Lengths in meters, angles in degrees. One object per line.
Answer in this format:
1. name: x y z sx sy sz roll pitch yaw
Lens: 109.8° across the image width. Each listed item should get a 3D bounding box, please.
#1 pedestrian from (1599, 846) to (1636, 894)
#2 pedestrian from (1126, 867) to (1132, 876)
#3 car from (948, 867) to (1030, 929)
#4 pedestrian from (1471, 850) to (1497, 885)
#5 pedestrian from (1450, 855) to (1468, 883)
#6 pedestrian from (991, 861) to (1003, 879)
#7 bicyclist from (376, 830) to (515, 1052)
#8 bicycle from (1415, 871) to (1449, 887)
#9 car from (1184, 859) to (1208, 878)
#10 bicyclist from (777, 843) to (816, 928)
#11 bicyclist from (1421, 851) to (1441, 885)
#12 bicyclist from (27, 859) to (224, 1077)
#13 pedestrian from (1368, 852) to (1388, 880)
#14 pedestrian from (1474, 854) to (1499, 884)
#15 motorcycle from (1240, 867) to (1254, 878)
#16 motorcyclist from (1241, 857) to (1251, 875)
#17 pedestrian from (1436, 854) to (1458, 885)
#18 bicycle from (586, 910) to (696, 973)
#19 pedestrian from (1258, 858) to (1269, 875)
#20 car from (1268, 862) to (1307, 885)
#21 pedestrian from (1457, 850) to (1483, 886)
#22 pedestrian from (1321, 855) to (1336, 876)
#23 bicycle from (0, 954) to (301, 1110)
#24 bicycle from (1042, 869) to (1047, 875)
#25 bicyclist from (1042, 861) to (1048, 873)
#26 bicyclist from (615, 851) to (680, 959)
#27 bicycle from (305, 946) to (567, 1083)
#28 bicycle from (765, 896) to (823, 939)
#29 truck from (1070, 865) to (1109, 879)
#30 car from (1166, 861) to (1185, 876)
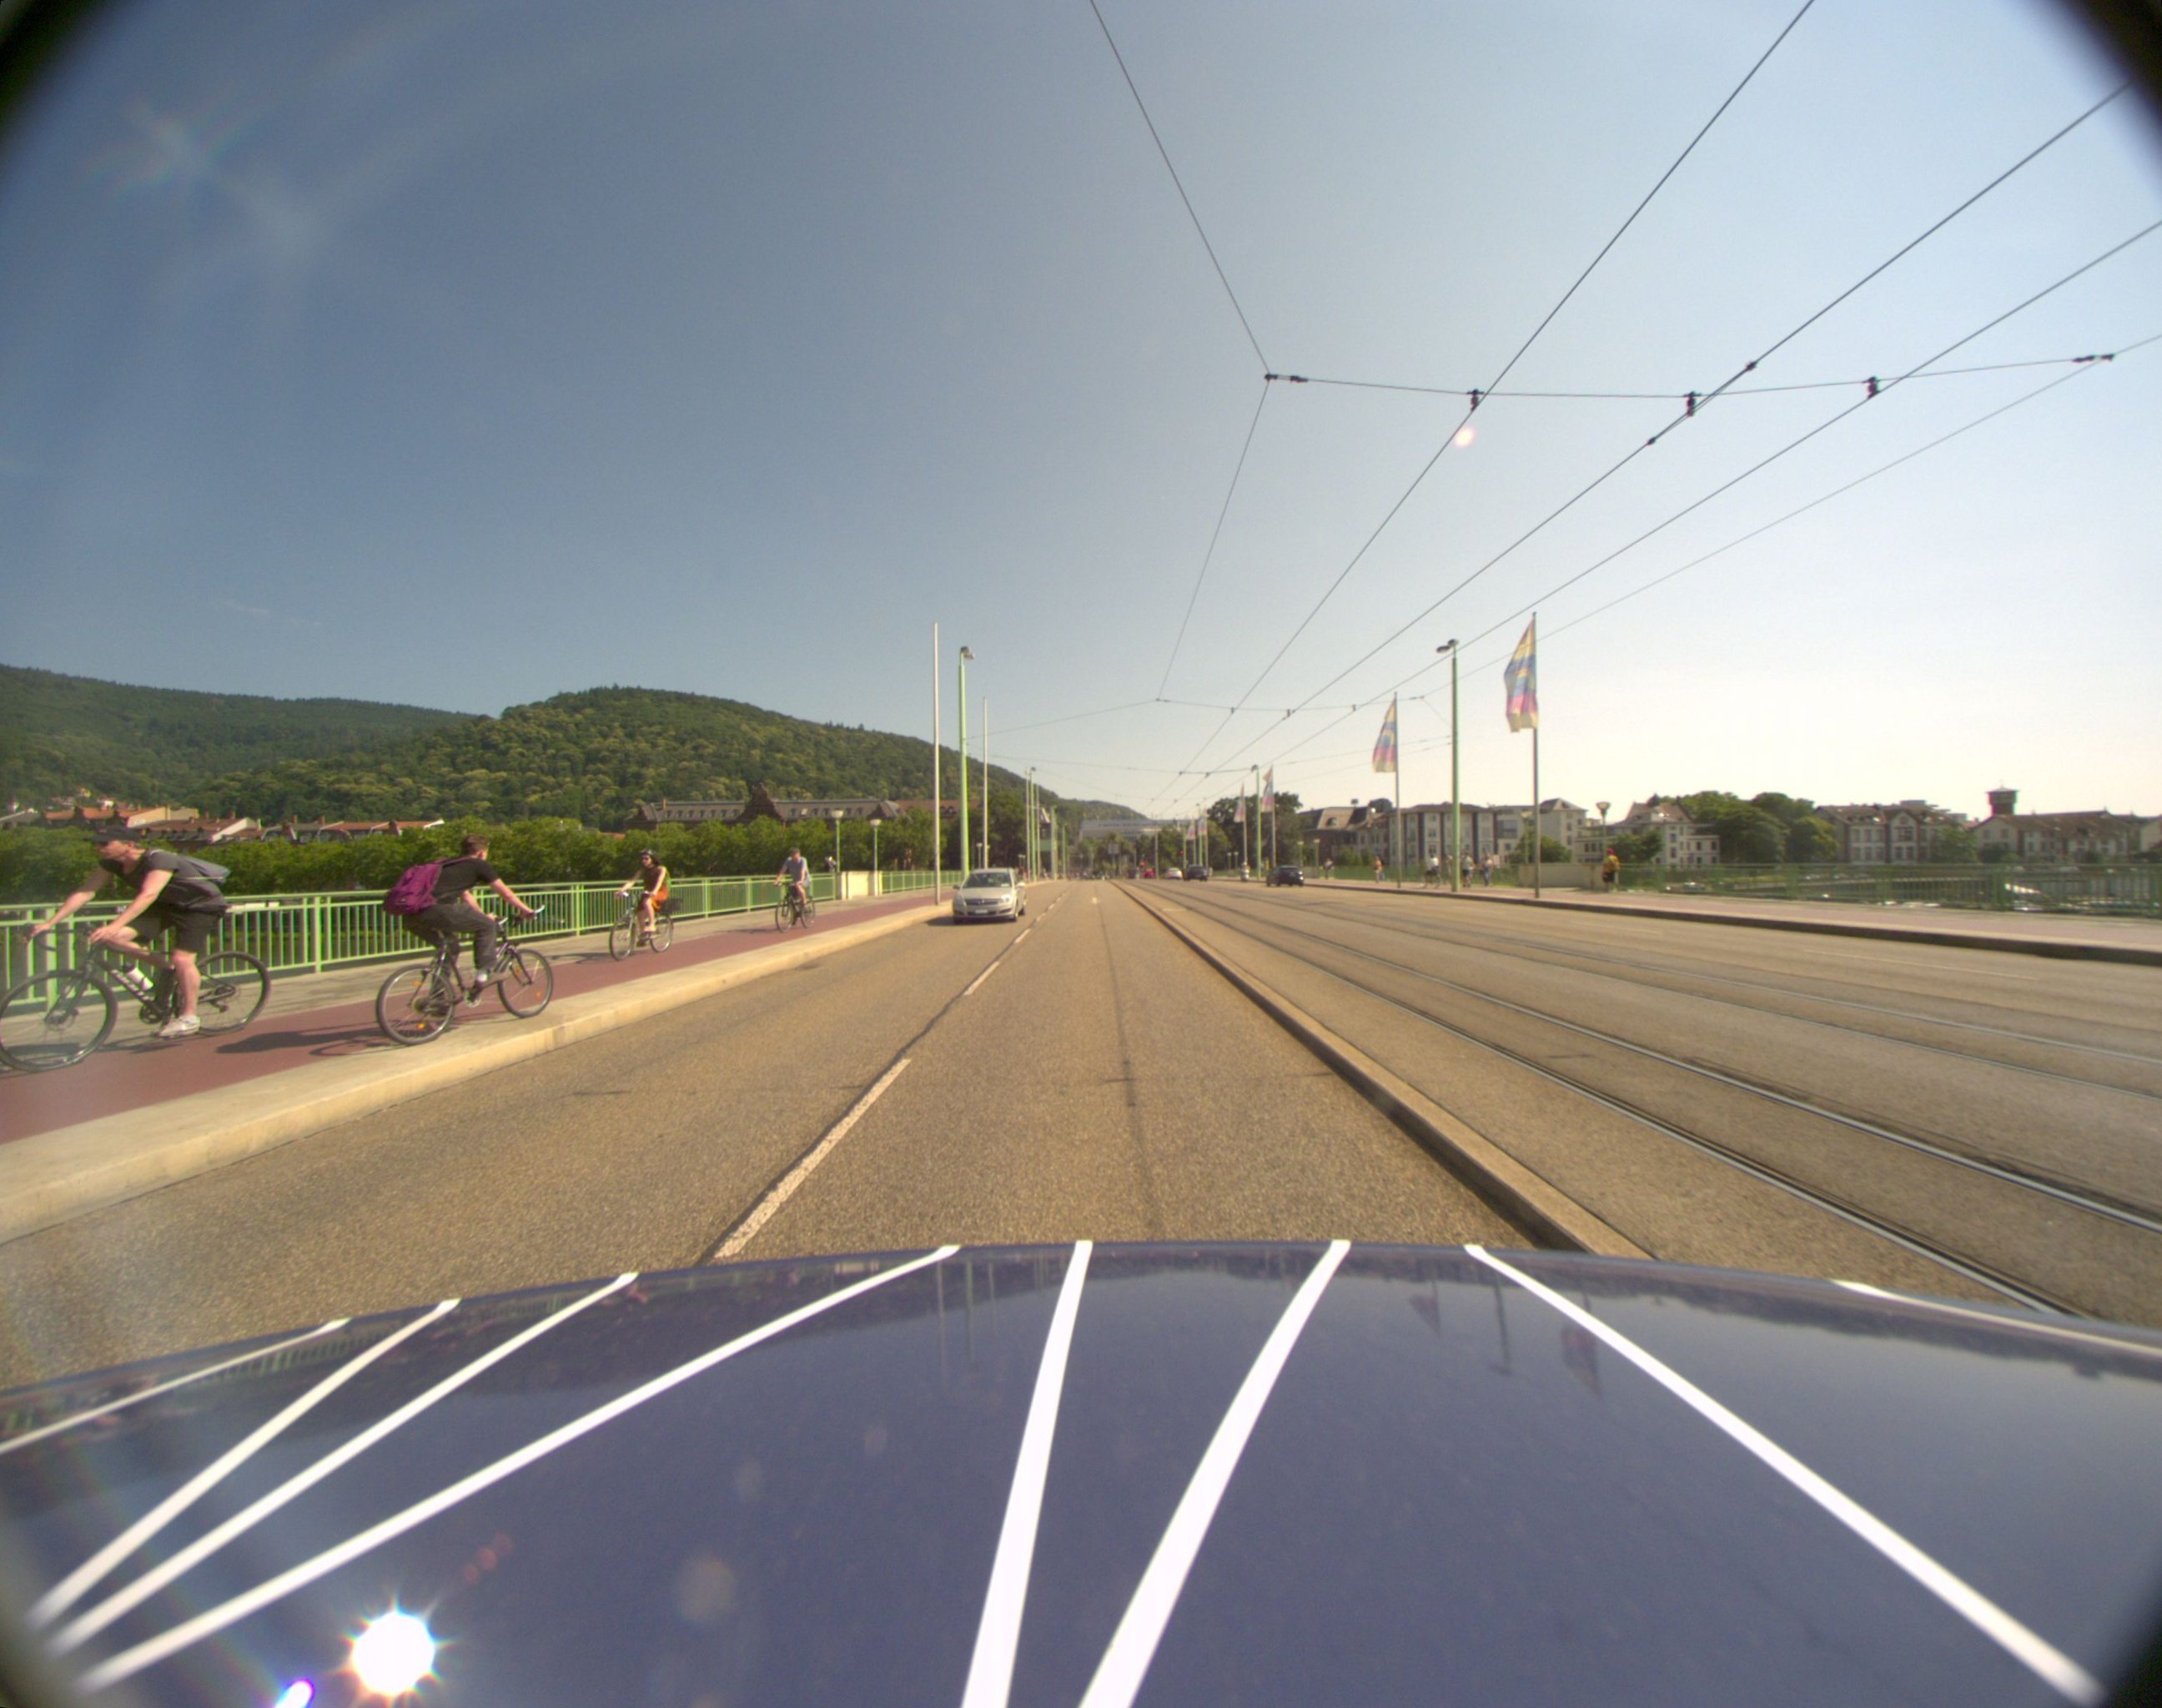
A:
1. pedestrian: 19.814 0.581 28.085 0.592 1.689 1.022 -3 0 1
2. pedestrian: 12.044 4.420 191.299 1.199 2.002 1.037 -2 2 31
3. car: -2.500 1.165 21.687 1.710 1.457 4.326 -2 0 1
4. pedestrian: 19.961 0.685 37.677 0.686 1.680 1.022 -3 0 1
5. pedestrian: 20.340 0.795 40.881 0.547 1.429 0.789 -3 0 1
6. pedestrian: -7.935 1.508 72.103 0.949 1.653 1.082 1 0 1
7. bicyclist: -5.295 0.689 6.365 0.587 1.759 0.672 0 0 2
8. bicycle: 17.138 1.230 37.164 0.667 0.712 2.173 -1 0 1
9. car: 11.162 1.385 73.982 1.714 1.686 4.000 -5 0 2
10. bicyclist: -6.142 0.667 16.413 0.588 1.809 0.702 0 1 -1
11. bicyclist: 17.126 0.689 37.155 0.666 1.641 0.622 -1 0 2
12. bicyclist: -7.176 0.812 5.745 0.588 1.549 0.702 0 0 -1
13. pedestrian: 19.073 0.768 48.789 0.787 1.689 1.022 -3 0 1
14. pedestrian: 19.538 0.709 36.605 0.592 1.406 1.022 -3 0 1
15. motorcycle: 14.285 1.559 65.531 0.735 0.884 2.145 -1 0 1
16. motorcyclist: 14.249 1.048 65.610 0.739 1.504 0.729 -1 0 0
17. pedestrian: 19.666 0.813 40.796 0.627 1.590 1.022 -3 0 1
18. bicycle: -6.780 1.319 11.820 0.595 0.761 1.867 0 0 1
19. pedestrian: 18.821 1.313 78.448 0.787 1.689 1.022 -3 0 1
20. car: 14.008 1.301 51.681 1.672 1.428 4.000 0 0 2
21. pedestrian: 18.757 0.669 36.657 0.671 1.689 1.022 -3 0 1
22. pedestrian: 20.285 0.945 62.310 0.787 1.689 1.022 -3 0 1
23. bicycle: -7.181 1.266 5.800 0.595 0.761 1.831 0 0 -1
24. bicycle: -5.096 2.537 106.929 0.595 0.761 1.867 0 0 1
25. bicyclist: -5.085 1.874 107.067 0.731 1.655 0.844 0 0 2
26. bicyclist: -6.780 0.773 11.908 0.606 1.641 0.702 0 0 2
27. bicycle: -5.305 1.274 6.435 0.595 0.761 1.867 0 0 1
28. bicycle: -6.149 1.340 16.371 0.595 0.761 1.866 0 0 -1
29. truck: 1.731 3.621 153.552 7.683 2.248 2.663 -5 0 5
30. car: 11.702 1.776 94.468 1.814 1.611 4.000 -5 0 2
